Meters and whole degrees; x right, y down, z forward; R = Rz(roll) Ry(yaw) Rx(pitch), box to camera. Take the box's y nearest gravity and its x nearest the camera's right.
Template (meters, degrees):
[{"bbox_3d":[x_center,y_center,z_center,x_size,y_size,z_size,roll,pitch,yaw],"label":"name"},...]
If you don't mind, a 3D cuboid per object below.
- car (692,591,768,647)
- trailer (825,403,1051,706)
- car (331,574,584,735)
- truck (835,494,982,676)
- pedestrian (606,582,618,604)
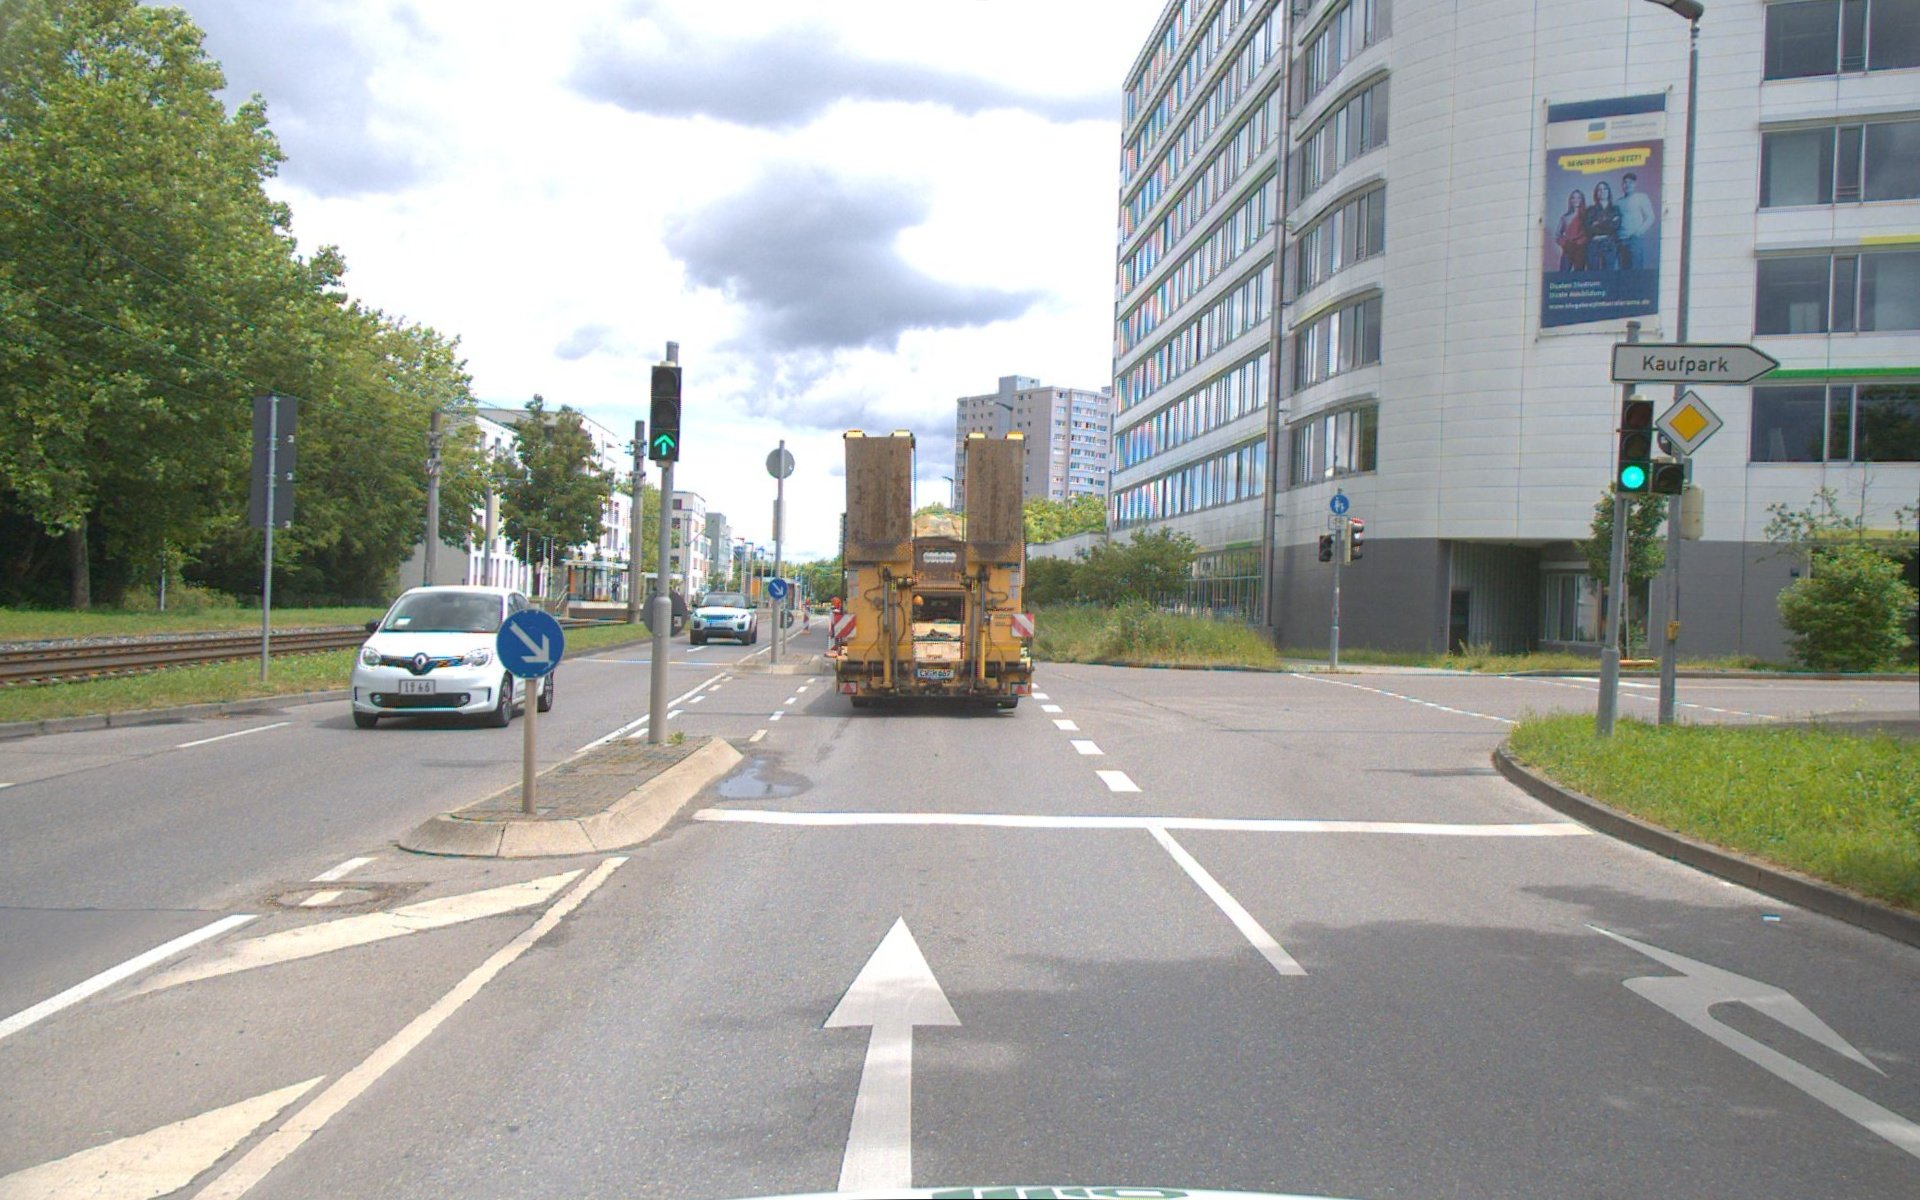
[{"bbox_3d":[-7.282,0.594,52.769,1.822,1.638,4.606,2,-1,-1],"label":"car"},{"bbox_3d":[-0.610,-0.503,25.944,2.675,3.621,11.244,2,-1,-4],"label":"trailer"},{"bbox_3d":[-5.788,0.594,19.589,1.693,1.640,4.262,2,-1,-1],"label":"car"},{"bbox_3d":[-1.195,-0.245,35.723,2.698,3.371,8.346,2,-1,-3],"label":"truck"},{"bbox_3d":[-25.654,-0.525,121.961,0.726,1.558,0.547,2,-1,0],"label":"pedestrian"}]
